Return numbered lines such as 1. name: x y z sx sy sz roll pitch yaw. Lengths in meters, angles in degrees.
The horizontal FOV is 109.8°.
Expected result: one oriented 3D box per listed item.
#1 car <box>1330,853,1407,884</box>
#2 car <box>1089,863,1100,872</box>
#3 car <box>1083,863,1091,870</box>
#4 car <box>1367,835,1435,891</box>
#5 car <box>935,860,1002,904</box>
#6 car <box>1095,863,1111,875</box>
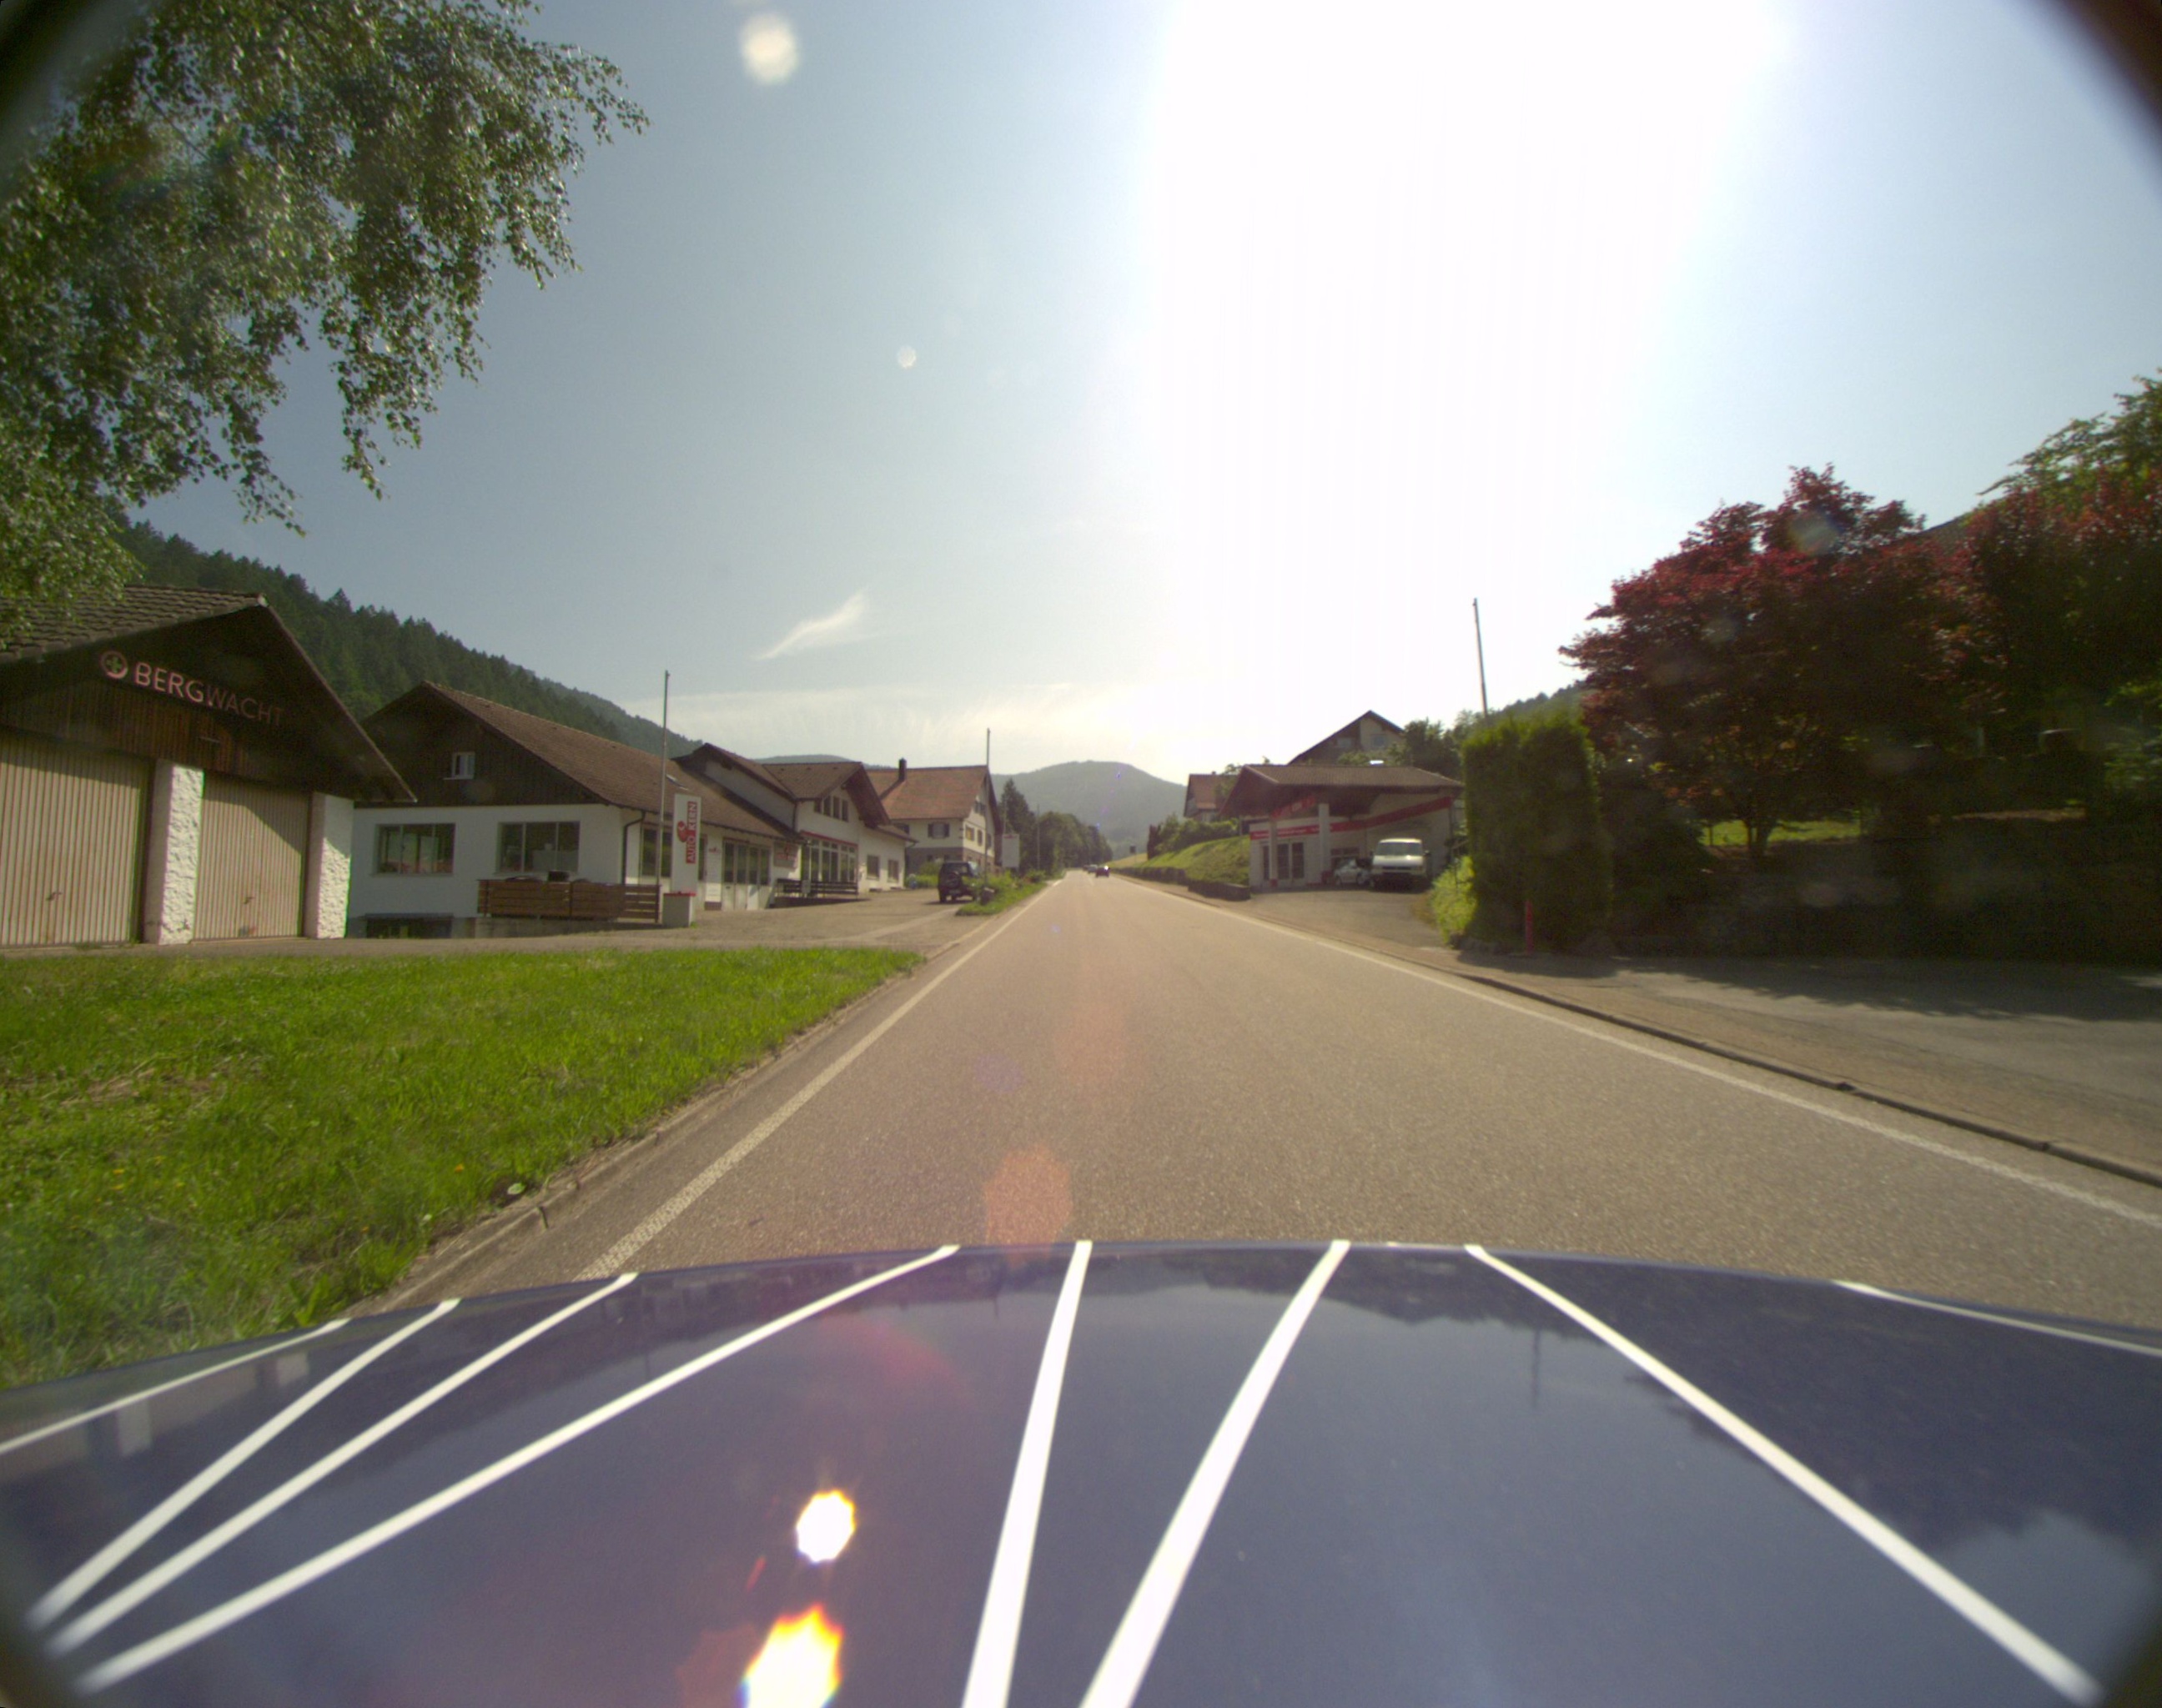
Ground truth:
1. car: 13.754 0.720 36.630 1.963 1.405 4.344 -1 -2 -2
2. car: 2.411 2.408 138.893 1.816 1.500 4.262 -2 0 -2
3. car: 1.520 3.136 193.350 1.816 1.500 4.262 -2 0 -2
4. car: 12.598 0.269 29.707 2.021 1.919 4.785 2 3 27
5. car: -4.993 1.196 34.433 1.812 1.802 4.666 0 0 7
6. car: 2.947 1.932 101.217 1.816 1.500 4.262 -2 0 -1
